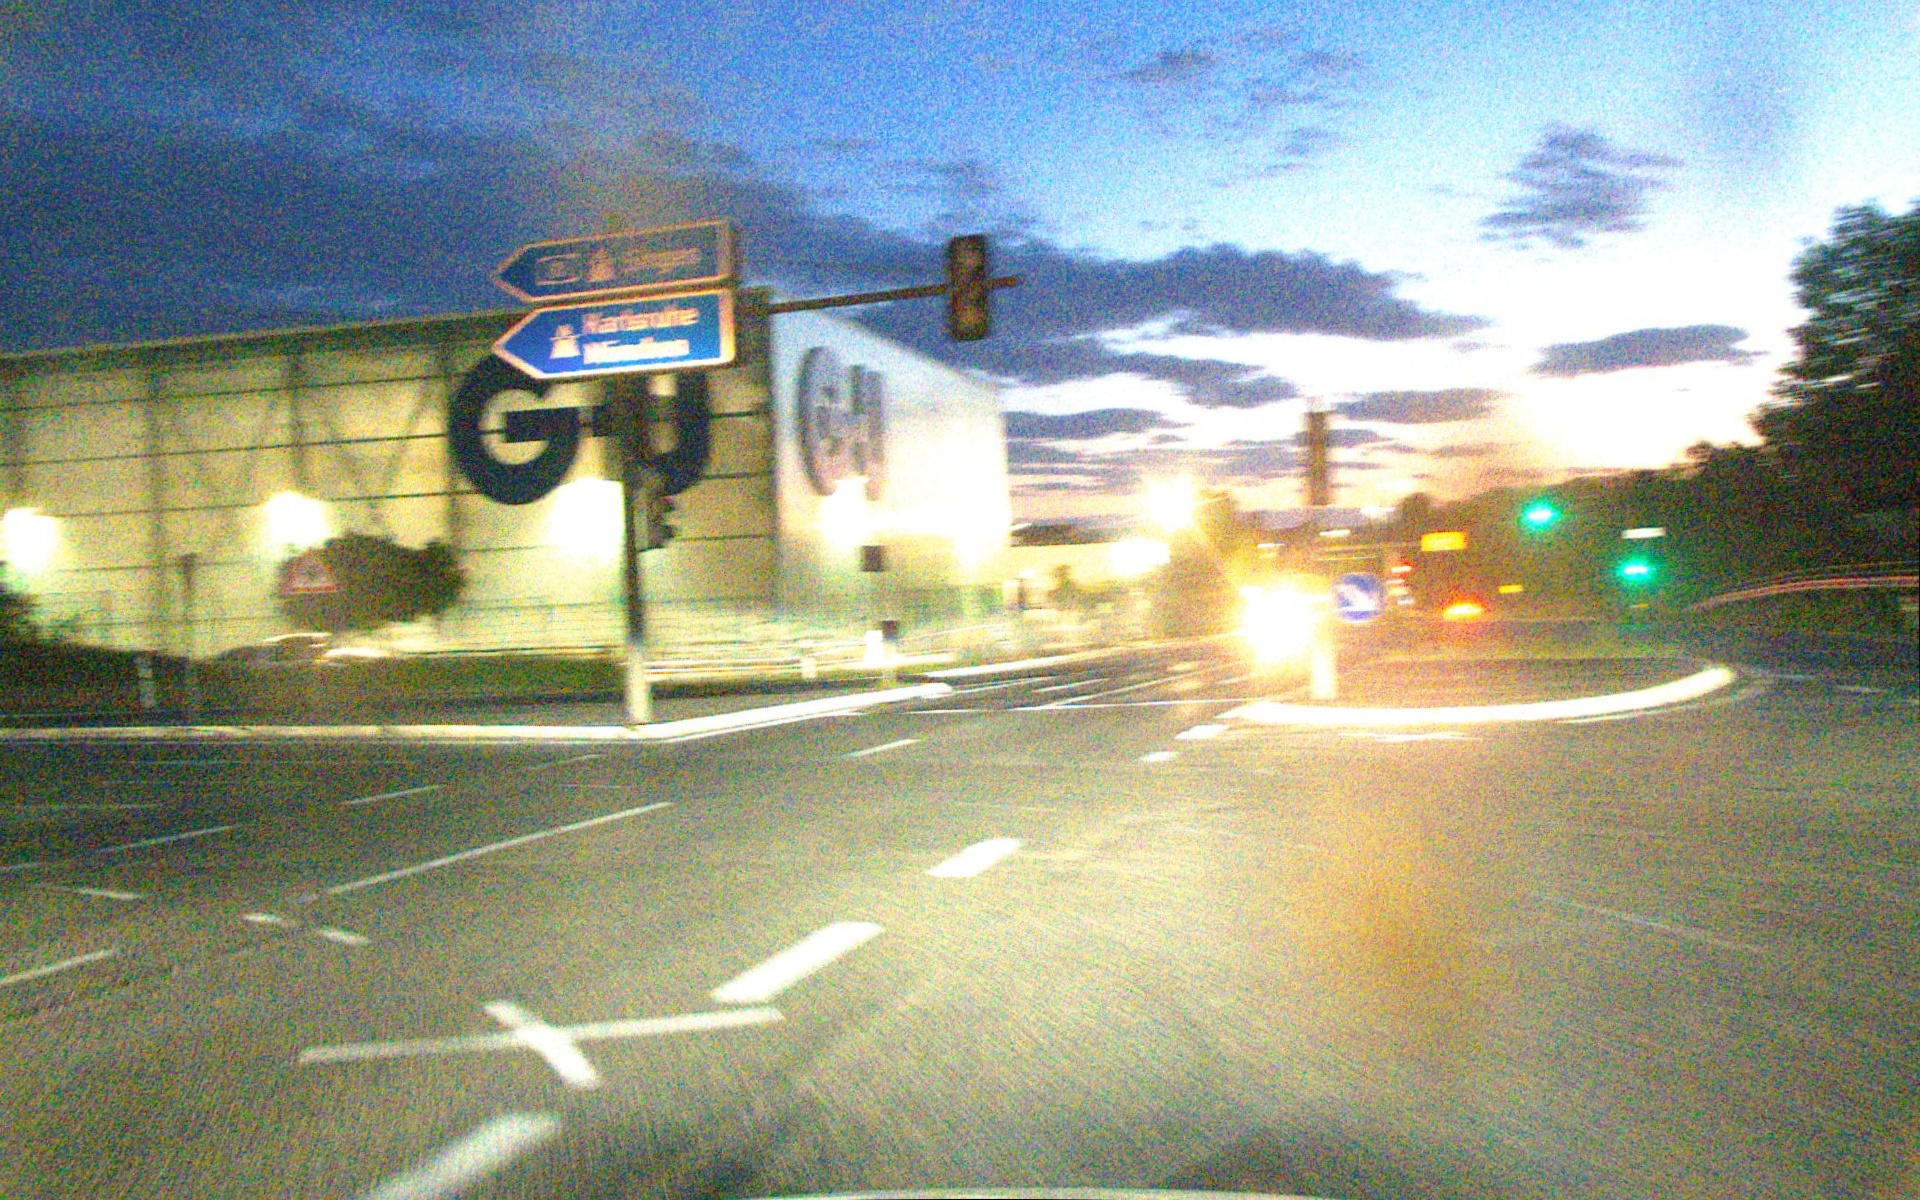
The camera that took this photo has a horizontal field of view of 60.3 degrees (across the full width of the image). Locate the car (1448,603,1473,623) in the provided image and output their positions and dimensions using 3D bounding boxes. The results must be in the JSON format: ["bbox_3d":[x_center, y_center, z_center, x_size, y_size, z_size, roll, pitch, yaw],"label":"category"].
[{"bbox_3d":[46.273,1.229,152.992,1.894,1.674,4.004,-2,0,13],"label":"car"}]
